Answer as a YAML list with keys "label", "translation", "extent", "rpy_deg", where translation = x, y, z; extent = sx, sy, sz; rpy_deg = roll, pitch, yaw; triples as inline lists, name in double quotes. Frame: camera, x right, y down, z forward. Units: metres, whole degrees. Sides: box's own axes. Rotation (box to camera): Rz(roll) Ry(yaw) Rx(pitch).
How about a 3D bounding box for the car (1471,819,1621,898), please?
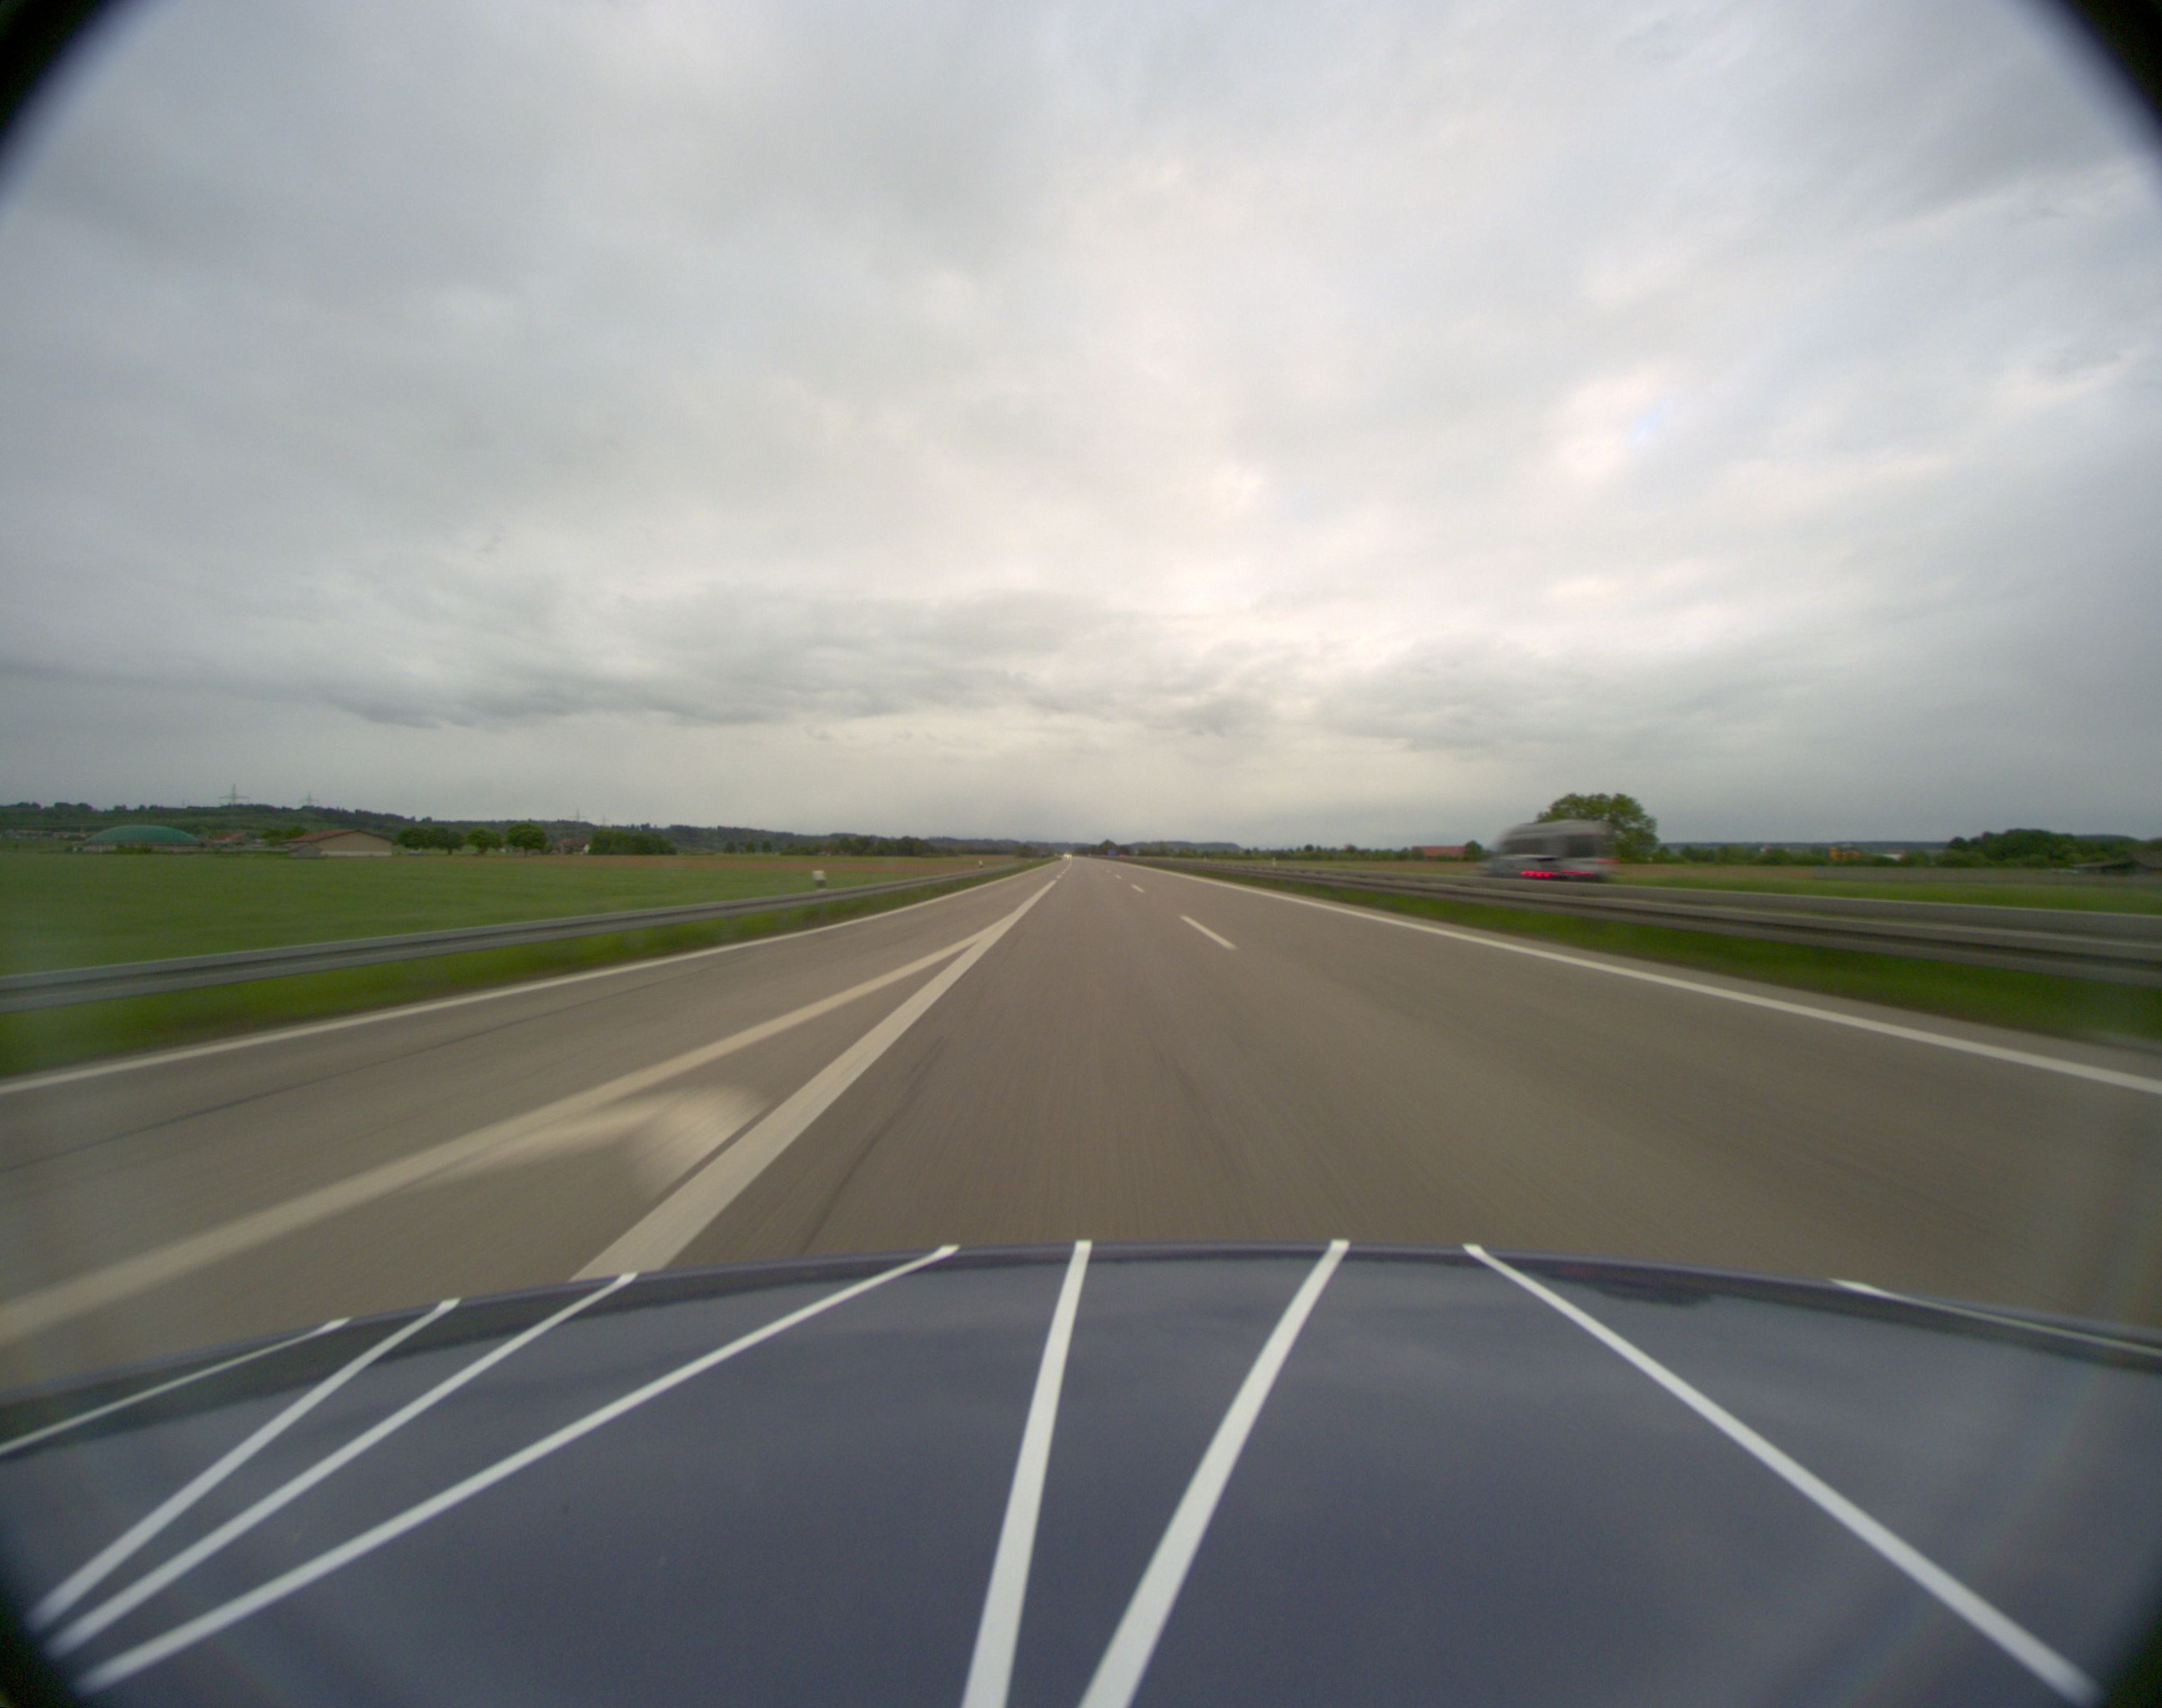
- label: "car"
  translation: [18.387, 0.148, 30.539]
  extent: [2.111, 2.784, 6.427]
  rpy_deg: [-2, 0, 1]

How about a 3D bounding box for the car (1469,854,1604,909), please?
- label: "car"
  translation: [14.110, 0.786, 23.870]
  extent: [1.751, 1.499, 4.200]
  rpy_deg: [-2, 0, 1]
